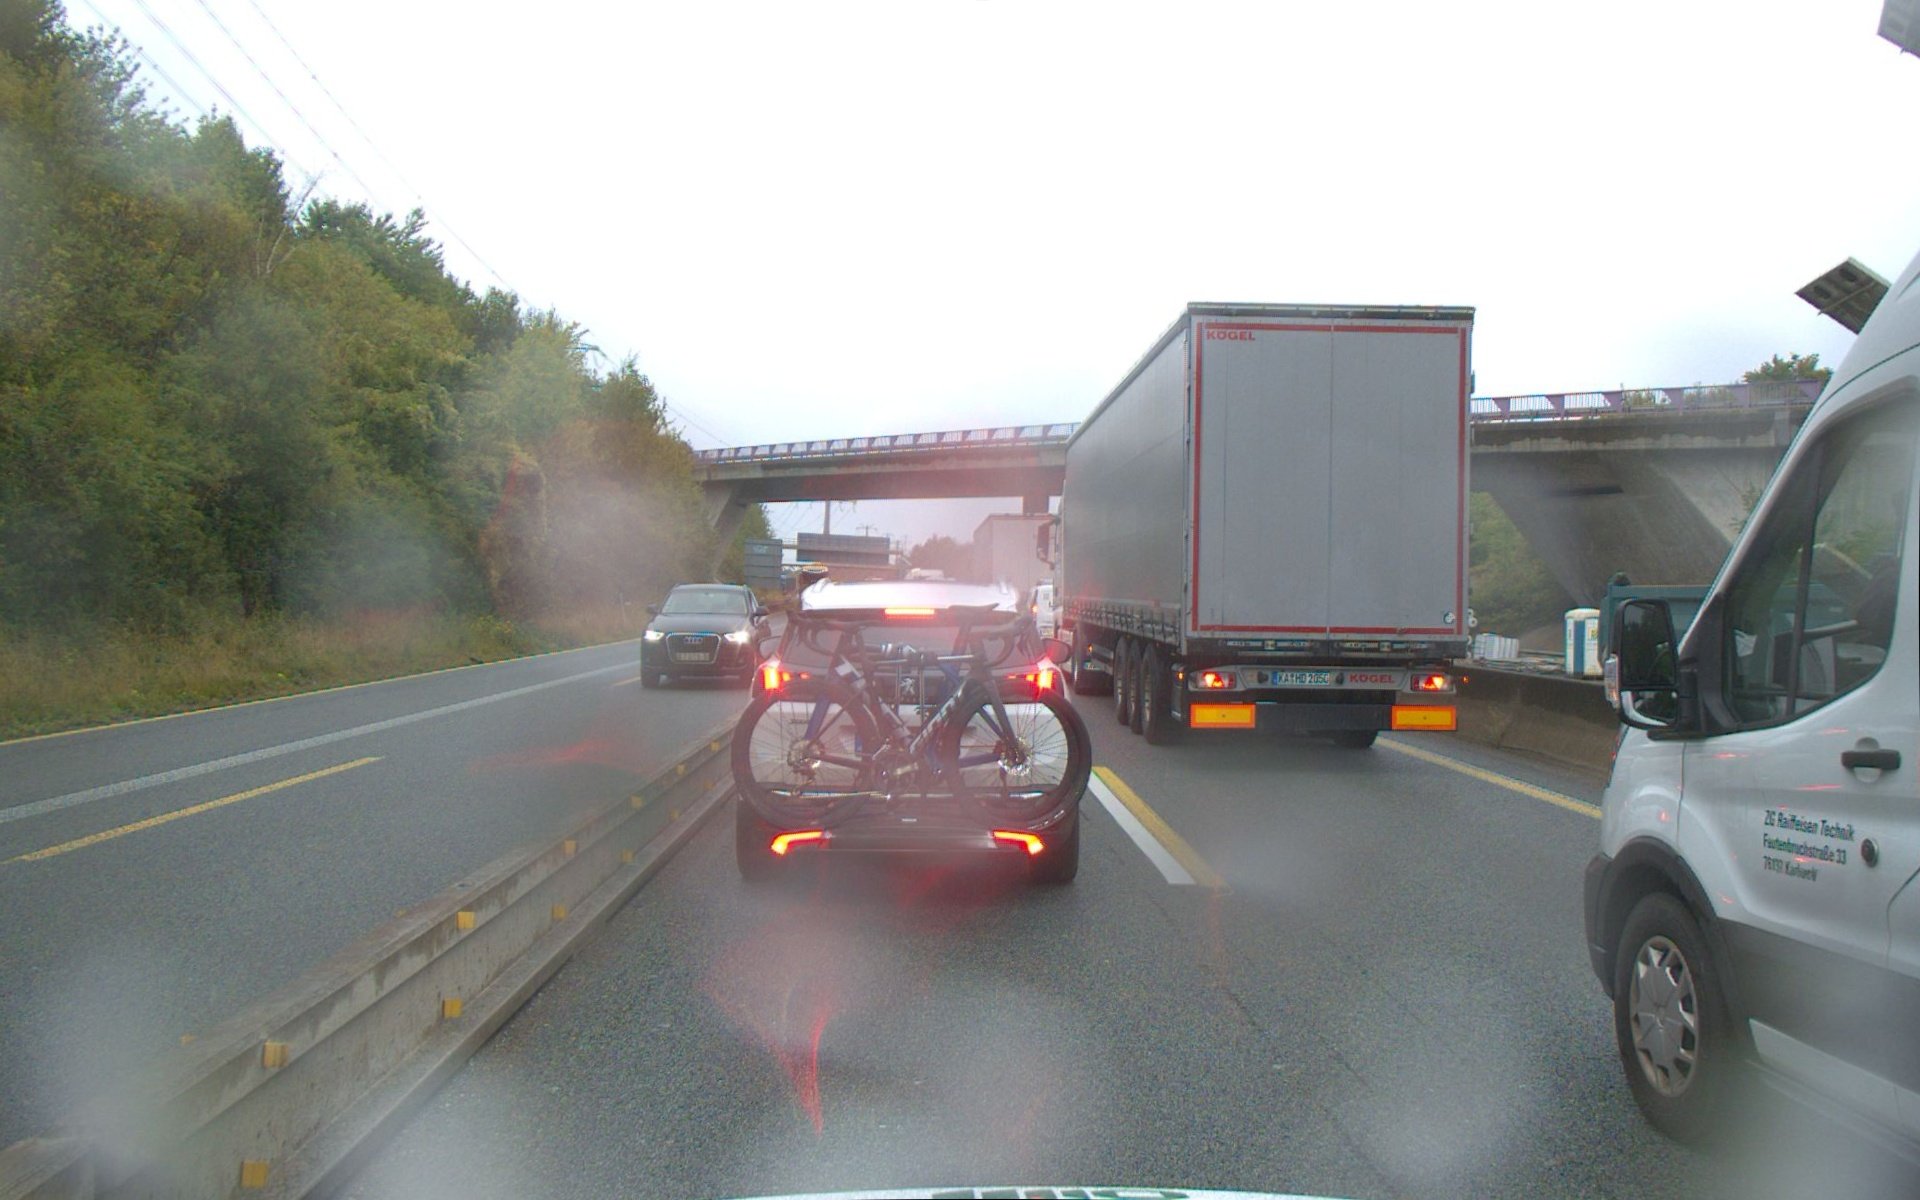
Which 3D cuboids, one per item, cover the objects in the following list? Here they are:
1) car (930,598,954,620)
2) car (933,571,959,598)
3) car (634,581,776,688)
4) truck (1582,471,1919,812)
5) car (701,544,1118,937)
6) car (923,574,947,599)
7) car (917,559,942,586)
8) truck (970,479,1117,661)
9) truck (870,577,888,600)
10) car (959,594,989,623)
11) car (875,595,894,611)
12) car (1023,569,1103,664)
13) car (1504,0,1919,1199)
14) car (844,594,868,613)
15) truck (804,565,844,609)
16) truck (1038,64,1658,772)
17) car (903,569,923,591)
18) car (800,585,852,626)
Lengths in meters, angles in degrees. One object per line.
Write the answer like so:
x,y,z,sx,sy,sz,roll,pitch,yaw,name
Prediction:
-1.272,0.626,116.841,1.605,1.524,3.665,1,0,-1,car
-1.077,-1.183,128.772,1.953,2.049,3.999,1,0,-1,car
-4.051,0.533,26.875,1.773,1.586,3.988,1,0,-2,car
10.133,0.414,18.894,2.469,3.186,9.116,1,0,-1,truck
-0.200,0.611,9.438,1.773,1.666,4.635,1,0,0,car
-2.103,-1.106,141.182,1.953,2.049,3.999,1,0,-1,car
-2.828,-2.532,154.101,2.193,2.348,4.571,1,0,-1,car
2.748,-0.934,63.288,4.645,5.772,20.375,1,0,0,truck
-12.547,-1.762,256.479,2.484,3.411,12.046,1,0,-2,truck
0.746,0.467,90.543,1.605,1.524,3.665,1,0,-1,car
-6.828,0.249,150.372,1.652,1.434,3.928,1,0,-2,car
2.505,0.396,41.139,1.636,2.218,4.534,1,0,-1,car
3.011,0.134,2.780,2.101,2.723,6.116,1,0,-1,car
-8.326,0.271,132.459,1.744,1.469,4.326,1,0,-2,car
-11.969,-1.083,146.680,2.627,3.720,12.309,1,0,-1,truck
3.691,-1.460,23.804,3.898,5.772,20.372,1,0,-1,truck
-4.916,-2.104,172.464,1.953,2.164,4.526,1,0,-1,car
-5.221,0.223,65.043,1.773,1.514,4.395,1,0,-2,car
